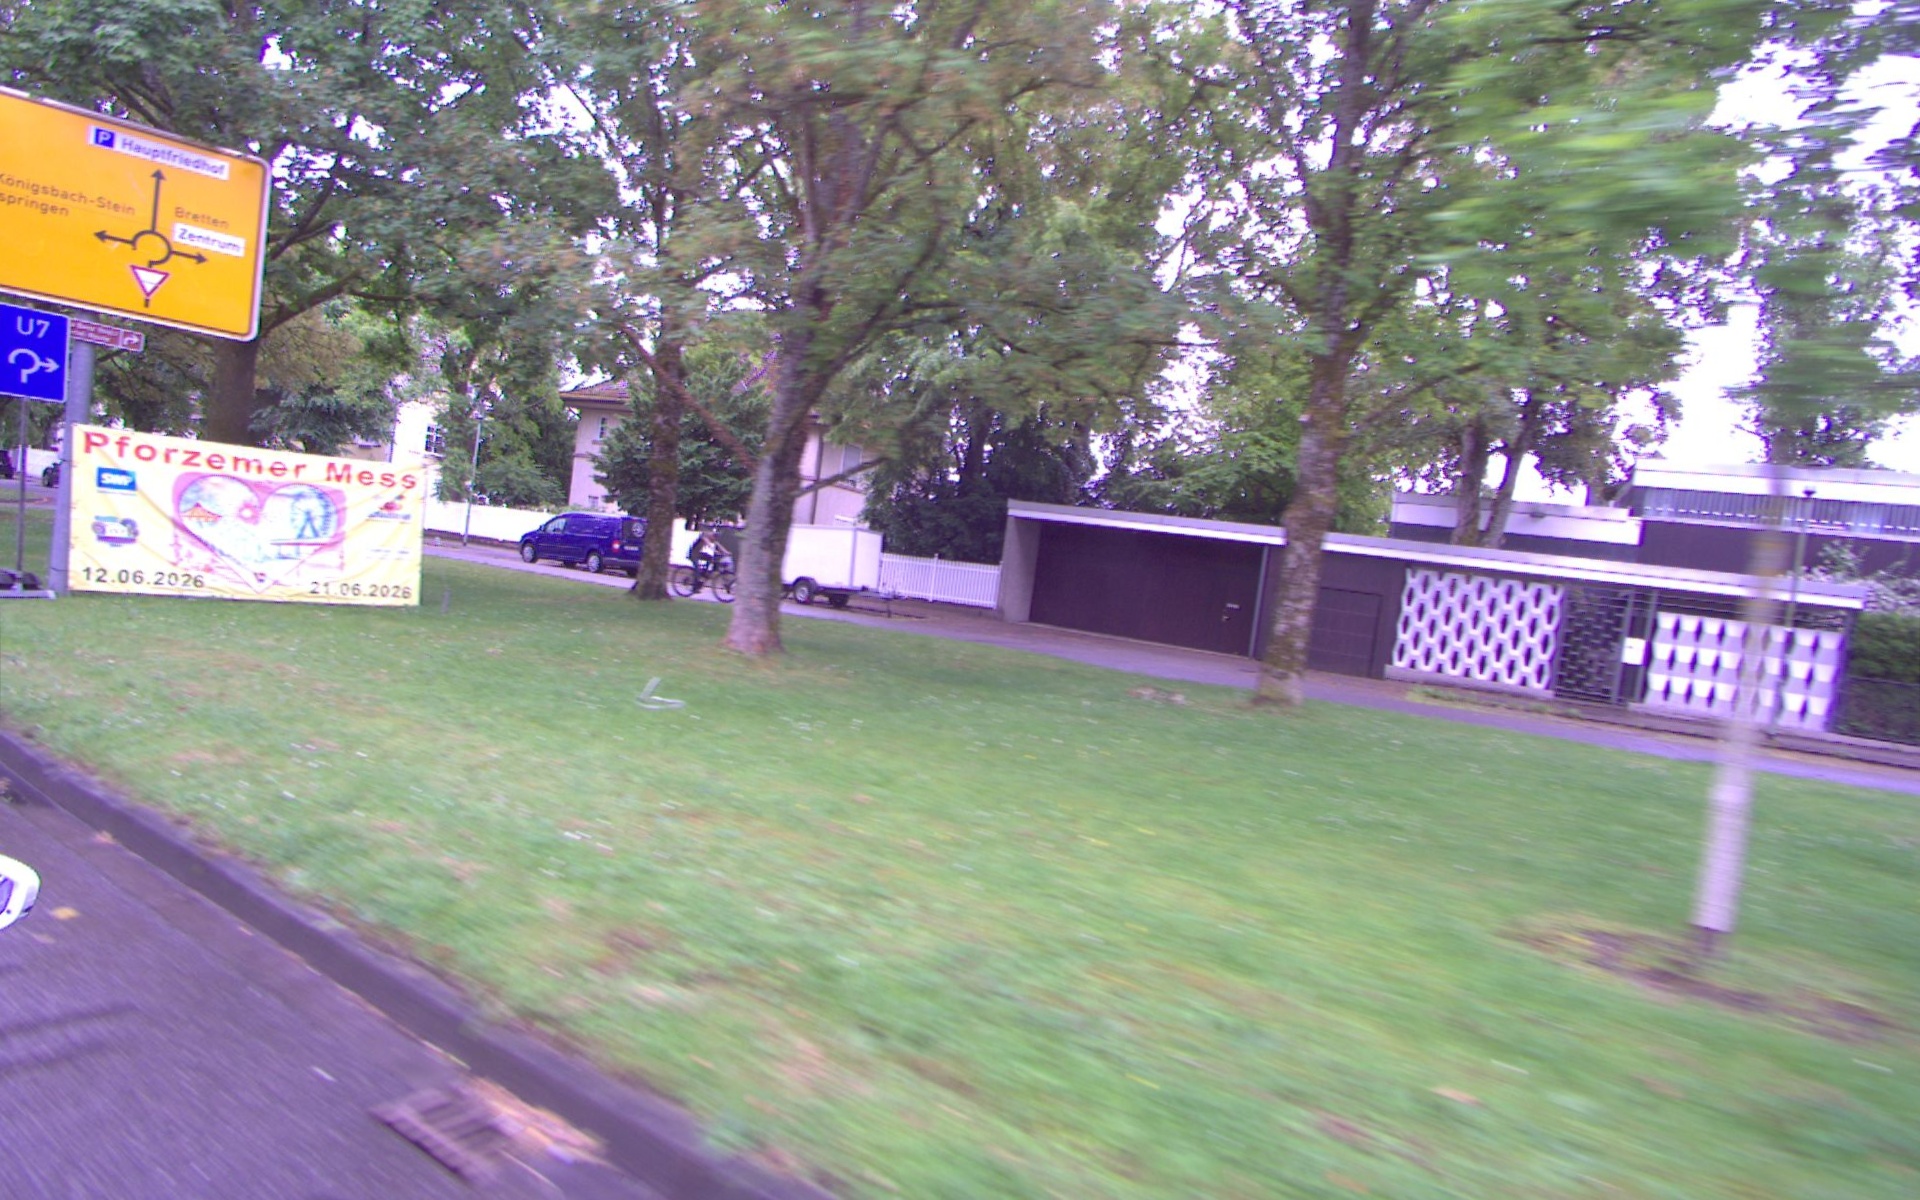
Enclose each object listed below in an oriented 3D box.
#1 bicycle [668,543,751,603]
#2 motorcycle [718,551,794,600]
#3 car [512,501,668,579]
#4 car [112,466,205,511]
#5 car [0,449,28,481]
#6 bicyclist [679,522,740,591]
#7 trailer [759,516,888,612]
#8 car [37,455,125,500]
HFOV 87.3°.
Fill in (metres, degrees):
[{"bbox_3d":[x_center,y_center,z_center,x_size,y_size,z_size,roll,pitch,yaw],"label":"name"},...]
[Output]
[{"bbox_3d":[-5.635,-0.612,22.590,1.832,1.153,0.596,7,2,32],"label":"bicycle"},{"bbox_3d":[-5.605,-0.654,27.700,1.876,1.107,0.651,6,3,-39],"label":"motorcycle"},{"bbox_3d":[-11.546,-1.861,31.307,4.568,1.834,1.942,9,4,29],"label":"car"},{"bbox_3d":[-34.640,-4.805,43.478,3.939,1.429,1.618,9,3,27],"label":"car"},{"bbox_3d":[-50.999,-7.246,52.834,4.041,1.431,1.803,9,3,29],"label":"car"},{"bbox_3d":[-5.629,-0.978,22.604,0.983,1.408,0.745,7,2,32],"label":"bicyclist"},{"bbox_3d":[-3.639,-0.968,26.721,2.898,2.182,1.438,7,2,27],"label":"trailer"},{"bbox_3d":[-40.900,-5.689,46.816,4.041,1.550,1.803,9,3,29],"label":"car"}]
